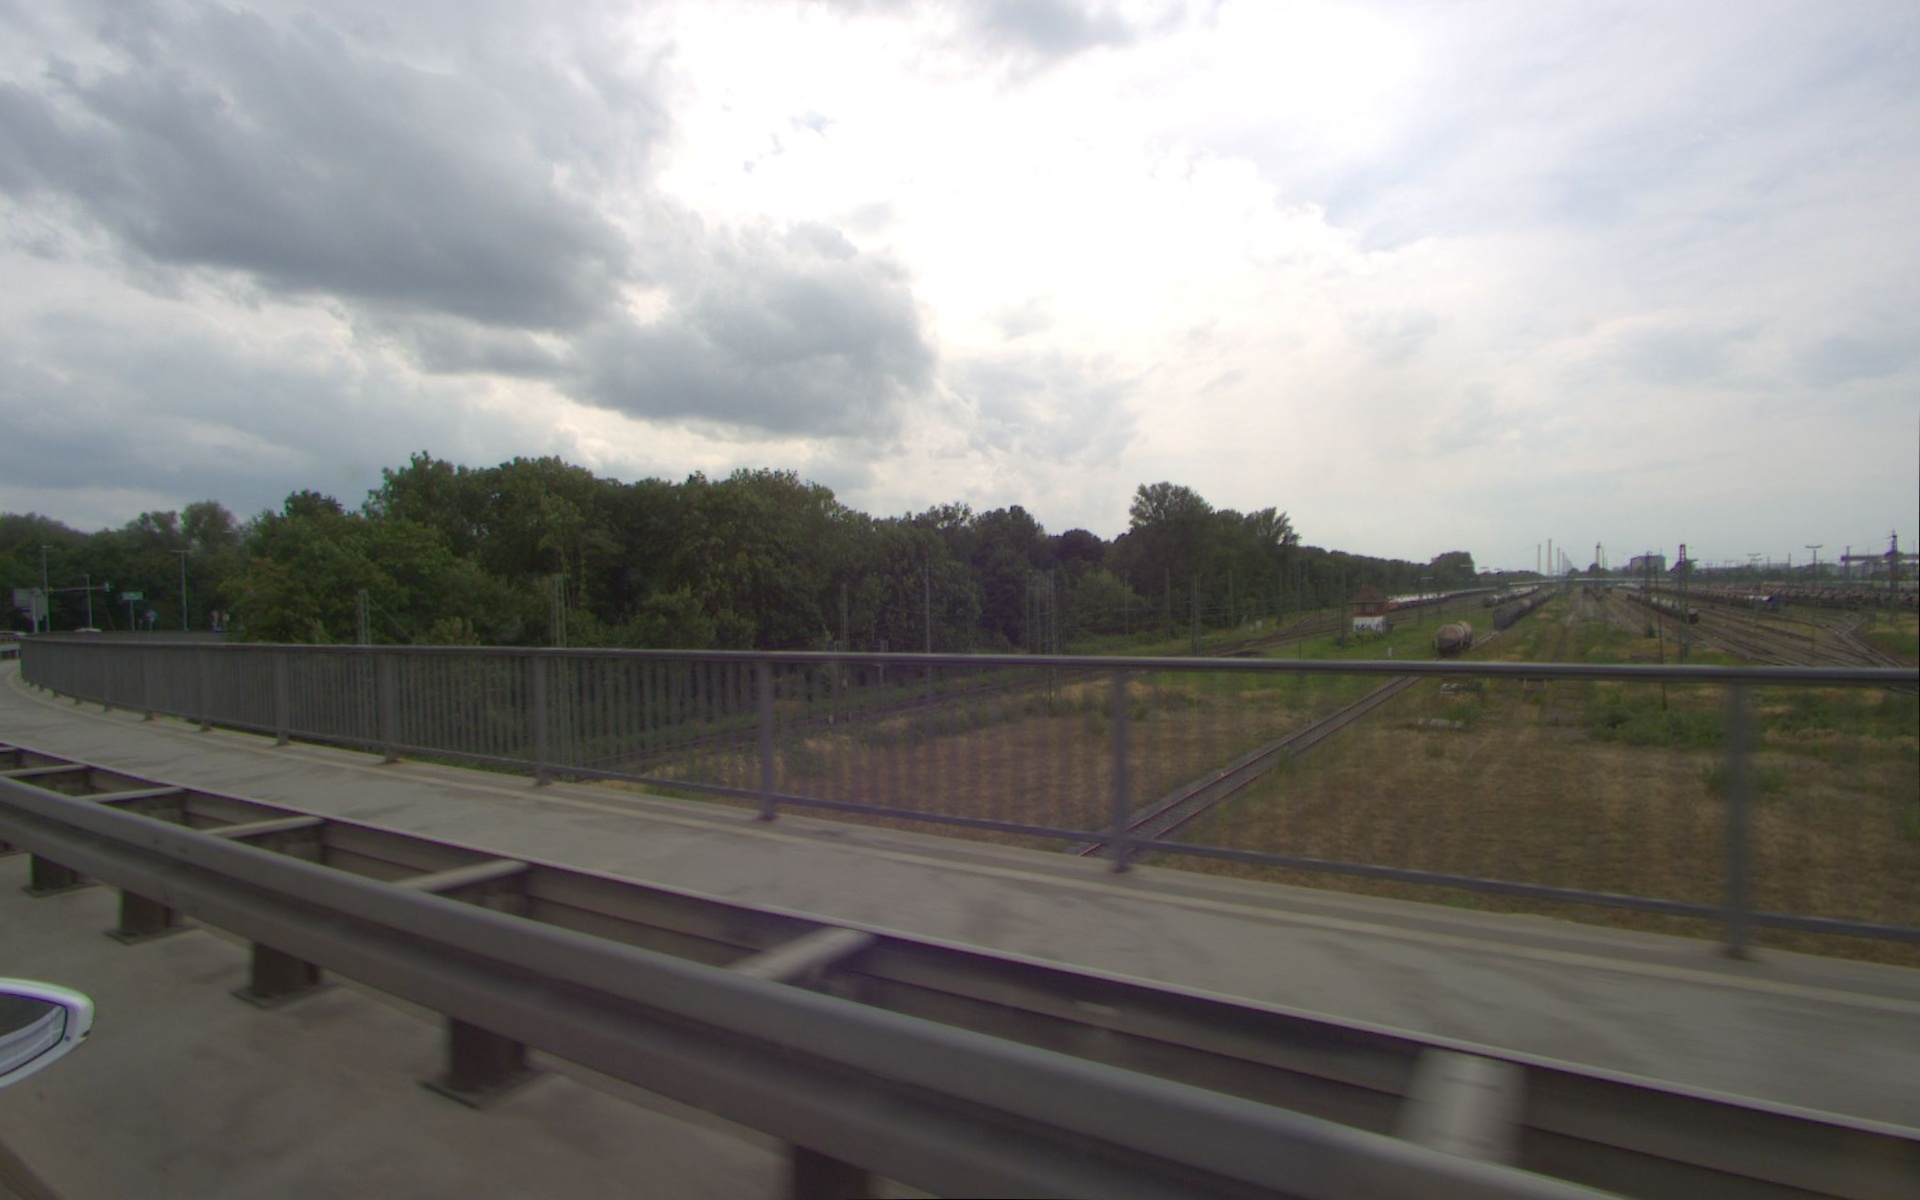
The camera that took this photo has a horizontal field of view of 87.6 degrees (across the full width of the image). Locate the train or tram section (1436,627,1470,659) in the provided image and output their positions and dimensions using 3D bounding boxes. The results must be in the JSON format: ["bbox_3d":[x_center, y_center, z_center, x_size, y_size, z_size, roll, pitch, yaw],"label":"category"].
[{"bbox_3d":[68.038,5.834,138.121,3.206,4.222,11.332,-1,-2,31],"label":"train or tram section"}]

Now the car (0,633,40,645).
[{"bbox_3d":[-103.368,4.234,109.443,3.732,1.327,2.001,0,-1,0],"label":"car"}]
